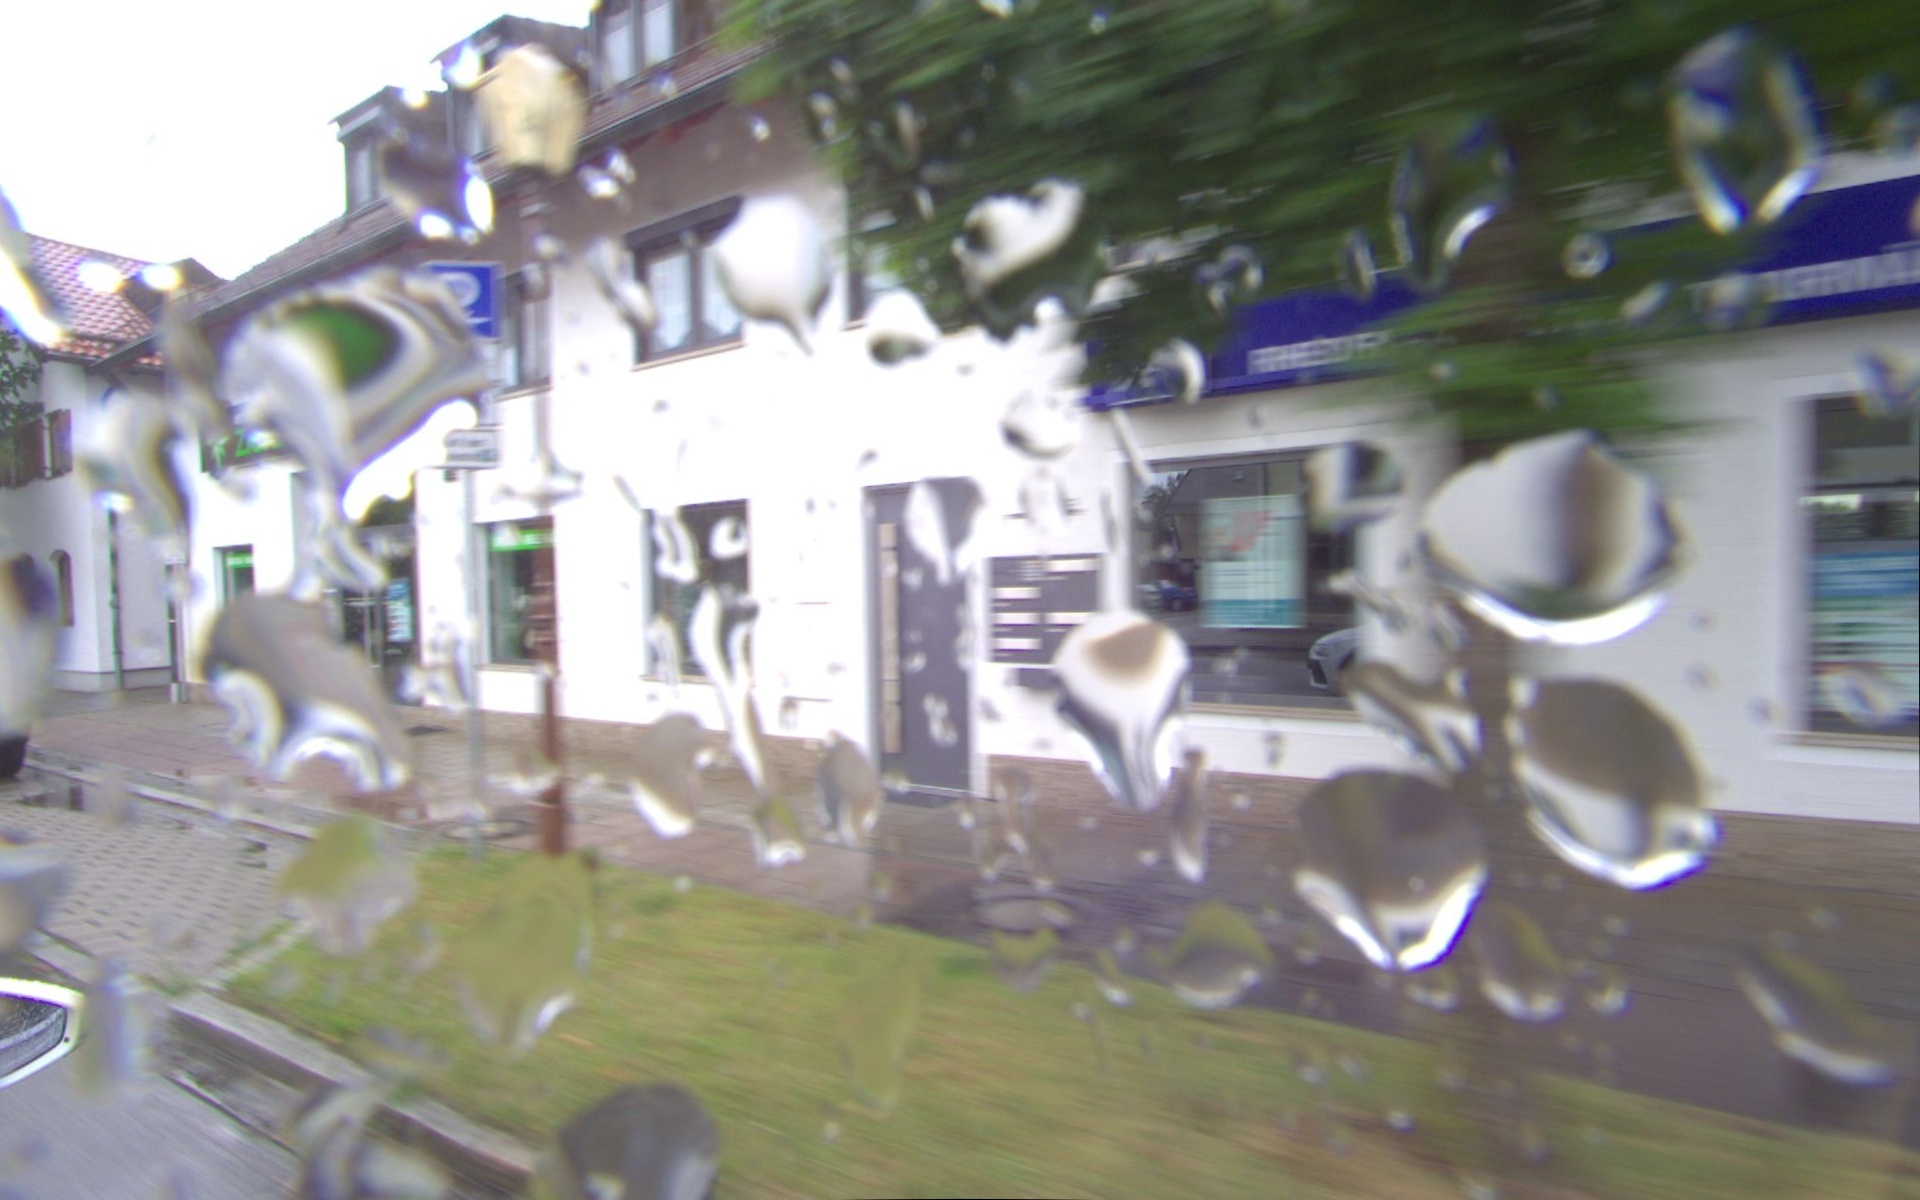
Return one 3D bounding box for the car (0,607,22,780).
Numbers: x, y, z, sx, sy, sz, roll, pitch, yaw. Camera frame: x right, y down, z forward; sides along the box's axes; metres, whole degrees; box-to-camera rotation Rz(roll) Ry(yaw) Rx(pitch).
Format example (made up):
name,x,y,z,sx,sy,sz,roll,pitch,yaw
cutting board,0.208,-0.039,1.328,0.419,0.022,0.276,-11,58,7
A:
name,x,y,z,sx,sy,sz,roll,pitch,yaw
car,-10.988,0.888,9.536,3.880,1.601,2.113,-1,-1,32
